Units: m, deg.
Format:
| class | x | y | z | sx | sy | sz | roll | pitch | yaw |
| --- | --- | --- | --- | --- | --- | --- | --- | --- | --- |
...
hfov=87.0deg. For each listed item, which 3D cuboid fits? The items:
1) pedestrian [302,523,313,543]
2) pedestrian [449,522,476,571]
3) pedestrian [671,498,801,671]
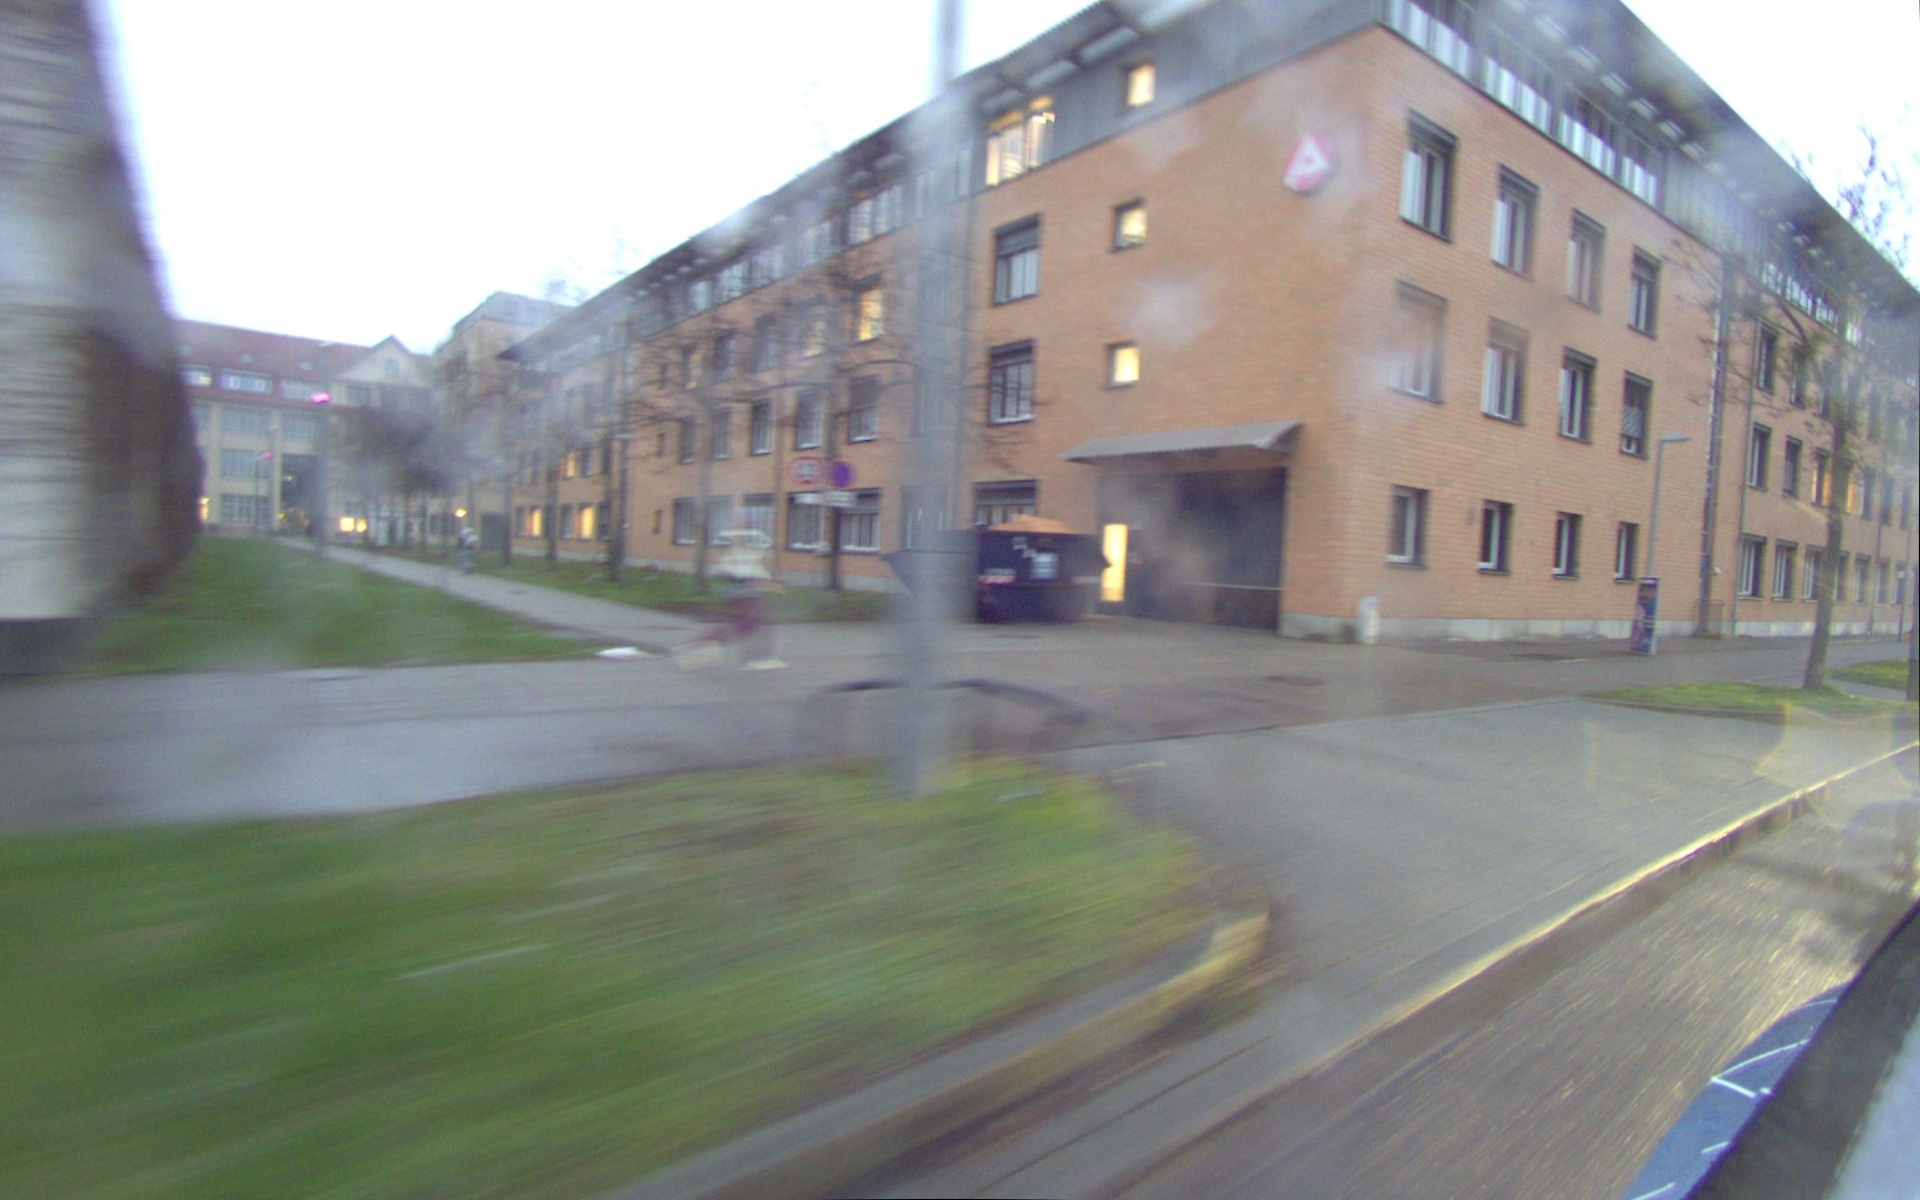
| class | x | y | z | sx | sy | sz | roll | pitch | yaw |
| --- | --- | --- | --- | --- | --- | --- | --- | --- | --- |
| pedestrian | -54.557 | -5.578 | 84.648 | 0.719 | 1.656 | 0.713 | 1 | 2 | -36 |
| pedestrian | -17.298 | -1.859 | 35.204 | 0.719 | 1.656 | 0.713 | 1 | 2 | -35 |
| pedestrian | -2.236 | -0.156 | 10.129 | 1.048 | 1.630 | 0.622 | 1 | 2 | -41 |
